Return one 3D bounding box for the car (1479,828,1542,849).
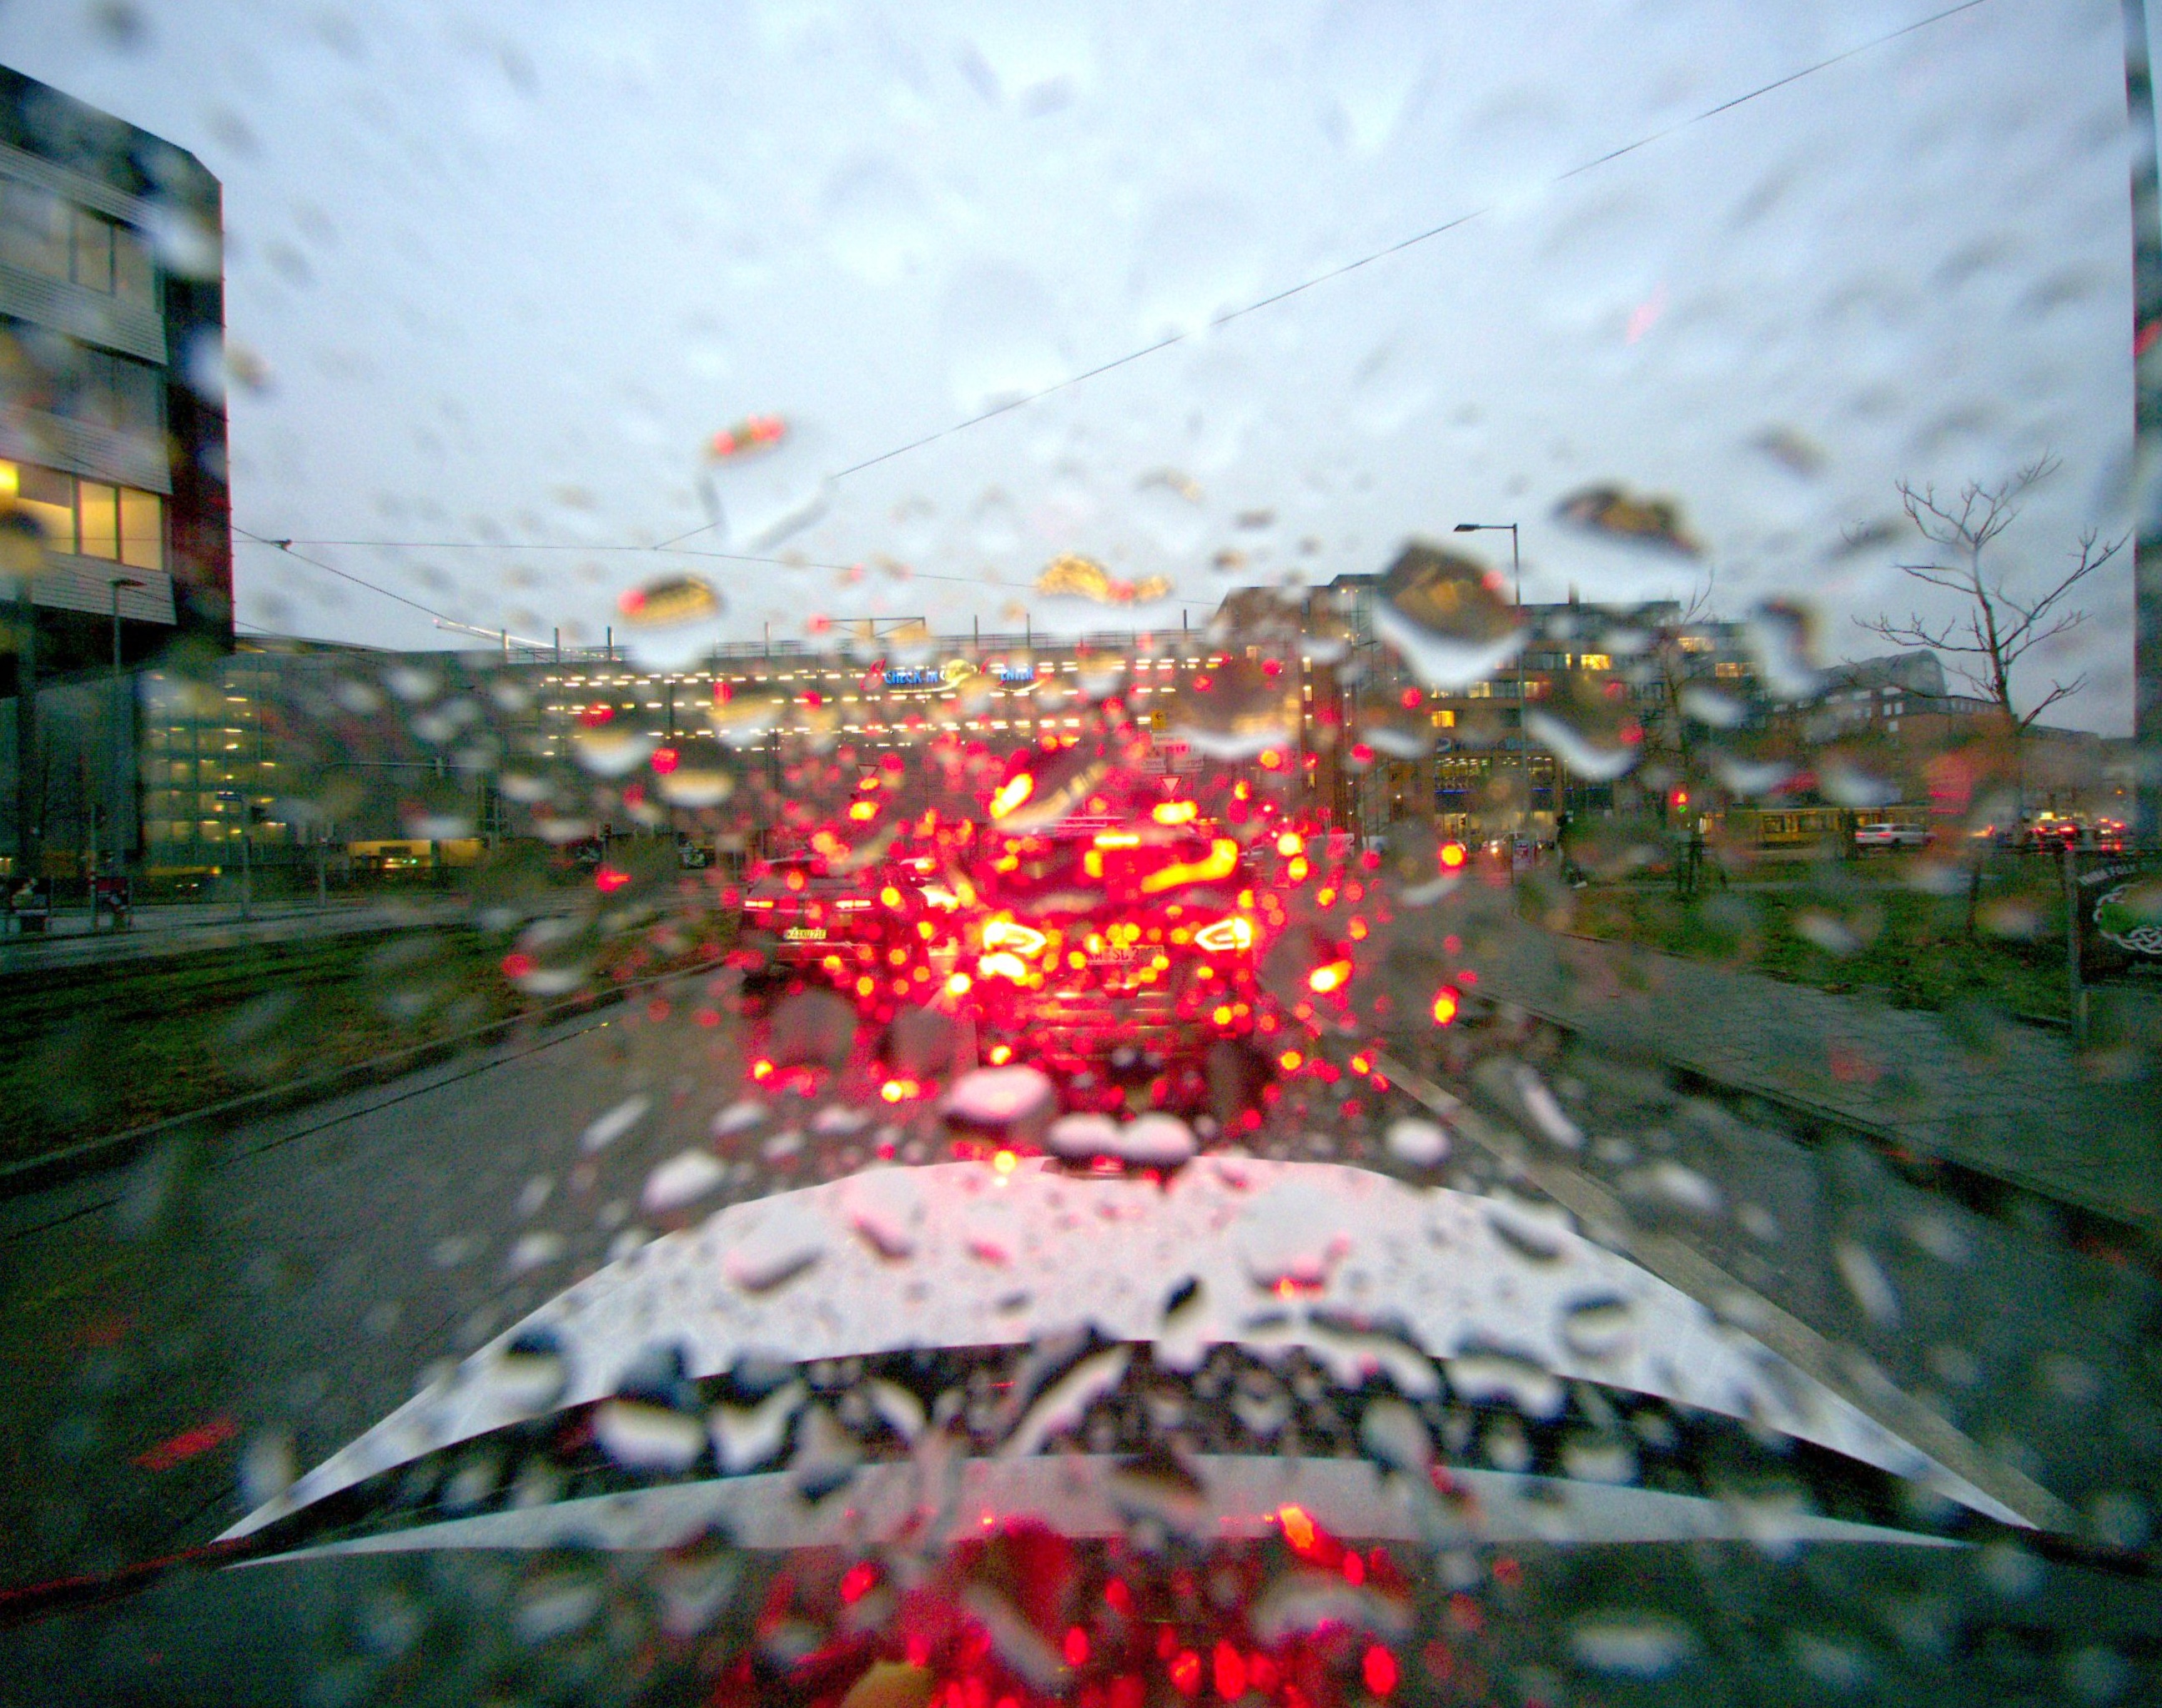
[{"bbox_3d":[36.324,-1.306,68.936,4.425,1.534,1.796,-2,0,-6],"label":"car"}]

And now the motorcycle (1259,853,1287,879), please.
[{"bbox_3d":[7.402,0.456,31.433,0.848,0.972,1.585,-2,0,7],"label":"motorcycle"}]

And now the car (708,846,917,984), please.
[{"bbox_3d":[-3.587,0.721,11.669,1.748,1.574,3.997,-2,0,-2],"label":"car"}]

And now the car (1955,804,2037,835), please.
[{"bbox_3d":[64.360,-2.399,57.305,4.945,2.013,1.989,0,0,-17],"label":"car"}]

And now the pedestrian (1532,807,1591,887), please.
[{"bbox_3d":[11.968,-0.184,20.324,1.159,1.924,0.904,1,0,25],"label":"pedestrian"}]

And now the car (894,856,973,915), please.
[{"bbox_3d":[-3.471,0.686,19.764,1.538,1.251,4.059,-1,0,-6],"label":"car"}]

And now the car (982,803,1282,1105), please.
[{"bbox_3d":[0.289,0.573,6.846,1.730,1.738,4.246,1,0,0],"label":"car"}]

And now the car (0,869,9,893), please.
[{"bbox_3d":[-91.276,2.215,66.332,5.068,1.962,1.888,1,0,-4],"label":"car"}]

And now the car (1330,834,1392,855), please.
[{"bbox_3d":[22.870,-0.784,66.626,4.413,1.595,1.796,-2,0,-6],"label":"car"}]

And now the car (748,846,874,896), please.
[{"bbox_3d":[-11.194,0.696,34.053,4.666,1.850,1.826,-2,-1,-8],"label":"car"}]

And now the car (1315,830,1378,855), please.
[{"bbox_3d":[22.840,-0.961,70.109,4.831,2.000,1.797,-2,0,-5],"label":"car"}]

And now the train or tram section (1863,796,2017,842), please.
[{"bbox_3d":[68.840,-2.843,65.233,12.974,3.260,2.326,-2,0,-14],"label":"train or tram section"}]

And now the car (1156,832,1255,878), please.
[{"bbox_3d":[5.651,0.017,37.096,3.987,1.874,1.994,-3,1,-10],"label":"car"}]

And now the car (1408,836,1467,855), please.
[{"bbox_3d":[29.645,-0.704,67.777,4.209,1.390,1.796,-2,0,-6],"label":"car"}]

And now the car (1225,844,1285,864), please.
[{"bbox_3d":[14.092,-0.009,66.111,4.413,1.390,1.796,-2,0,-6],"label":"car"}]

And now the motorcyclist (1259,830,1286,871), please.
[{"bbox_3d":[7.380,-0.136,31.387,0.863,1.534,1.110,-2,0,7],"label":"motorcyclist"}]

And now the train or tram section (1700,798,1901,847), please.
[{"bbox_3d":[54.685,-2.421,61.760,16.626,3.260,2.326,-2,0,-14],"label":"train or tram section"}]

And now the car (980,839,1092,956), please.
[{"bbox_3d":[-0.737,0.647,13.878,1.632,1.697,3.667,-1,0,-3],"label":"car"}]

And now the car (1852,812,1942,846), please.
[{"bbox_3d":[50.441,-1.529,50.354,4.362,2.013,1.990,0,0,-15],"label":"car"}]
